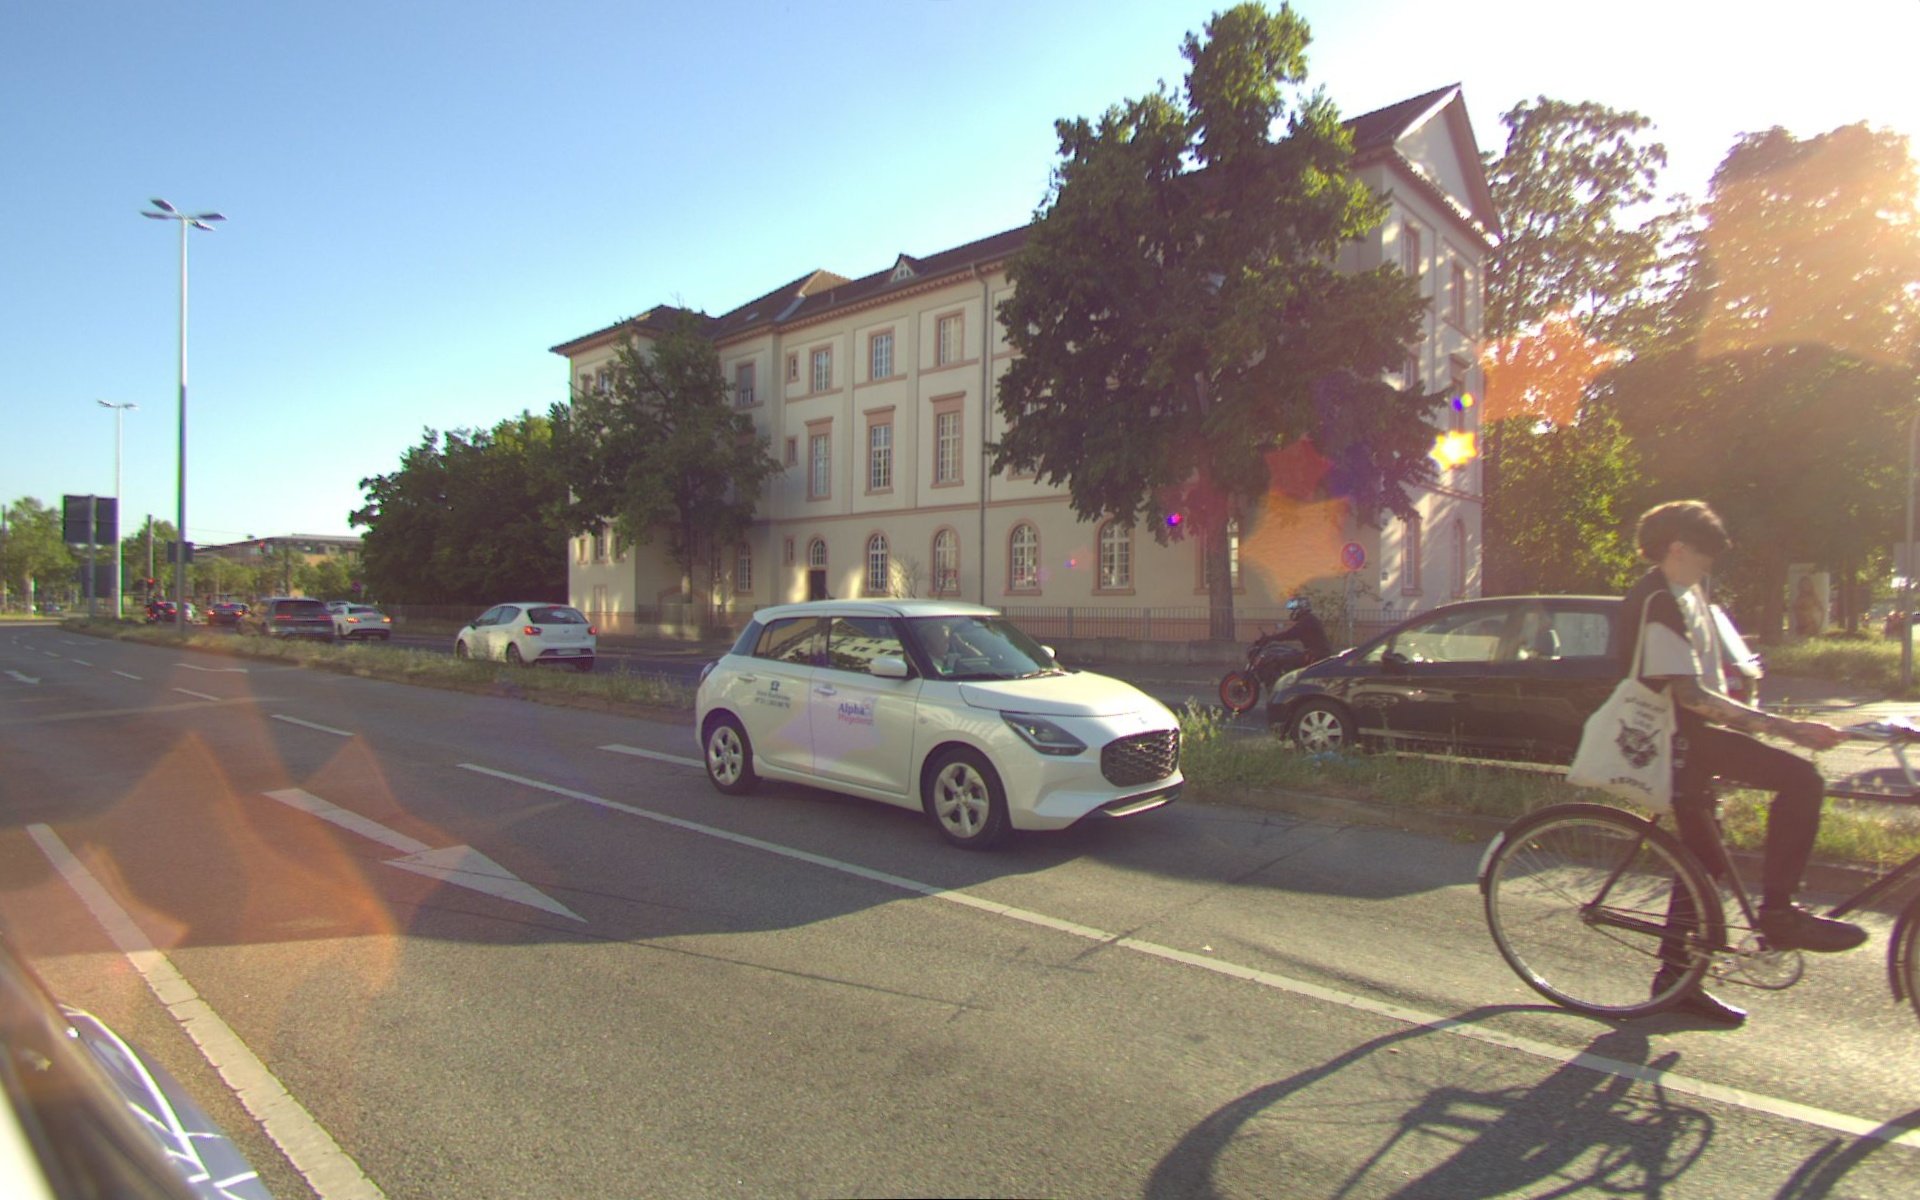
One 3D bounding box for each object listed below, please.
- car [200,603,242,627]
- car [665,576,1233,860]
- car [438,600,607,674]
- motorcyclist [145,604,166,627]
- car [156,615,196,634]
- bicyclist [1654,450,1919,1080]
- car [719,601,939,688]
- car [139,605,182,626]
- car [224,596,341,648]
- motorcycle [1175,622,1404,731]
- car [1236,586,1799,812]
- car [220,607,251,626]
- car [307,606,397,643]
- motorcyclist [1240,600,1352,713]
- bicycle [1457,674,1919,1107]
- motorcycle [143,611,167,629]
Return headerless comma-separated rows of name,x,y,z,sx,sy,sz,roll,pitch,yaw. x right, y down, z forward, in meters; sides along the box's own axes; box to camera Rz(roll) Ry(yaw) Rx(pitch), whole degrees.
car,-46.979,0.952,64.257,1.968,1.507,5.303,1,-1,-38
car,-0.284,0.627,7.213,3.999,1.468,1.667,-1,0,42
car,-9.339,0.735,21.449,4.179,1.403,1.667,-1,-1,41
motorcyclist,-49.787,0.966,62.634,0.840,1.408,1.064,1,-1,-32
car,-55.600,1.692,71.790,1.695,1.306,4.261,1,-1,-30
bicyclist,2.776,0.458,3.139,0.986,1.741,0.684,0,-1,38
car,-2.639,0.803,19.717,4.510,1.510,1.668,-1,-1,40
car,-52.353,1.013,66.341,1.695,1.306,4.389,1,-1,-32
car,-22.353,0.685,33.299,4.896,1.590,1.973,0,-1,41
motorcycle,4.352,0.962,13.582,2.840,1.294,0.762,0,-1,40
car,4.597,0.682,8.693,3.997,1.506,1.641,0,-1,40
car,-50.774,1.166,70.969,1.695,1.329,3.905,1,-1,-34
car,-24.851,0.980,41.325,4.443,1.424,1.972,-1,-2,43
motorcyclist,4.472,0.717,13.497,1.237,1.430,0.762,0,-1,39
bicycle,2.822,0.844,3.087,2.255,1.108,0.693,0,-1,39
motorcycle,-49.844,1.247,62.684,0.847,1.116,2.477,1,-1,-32
